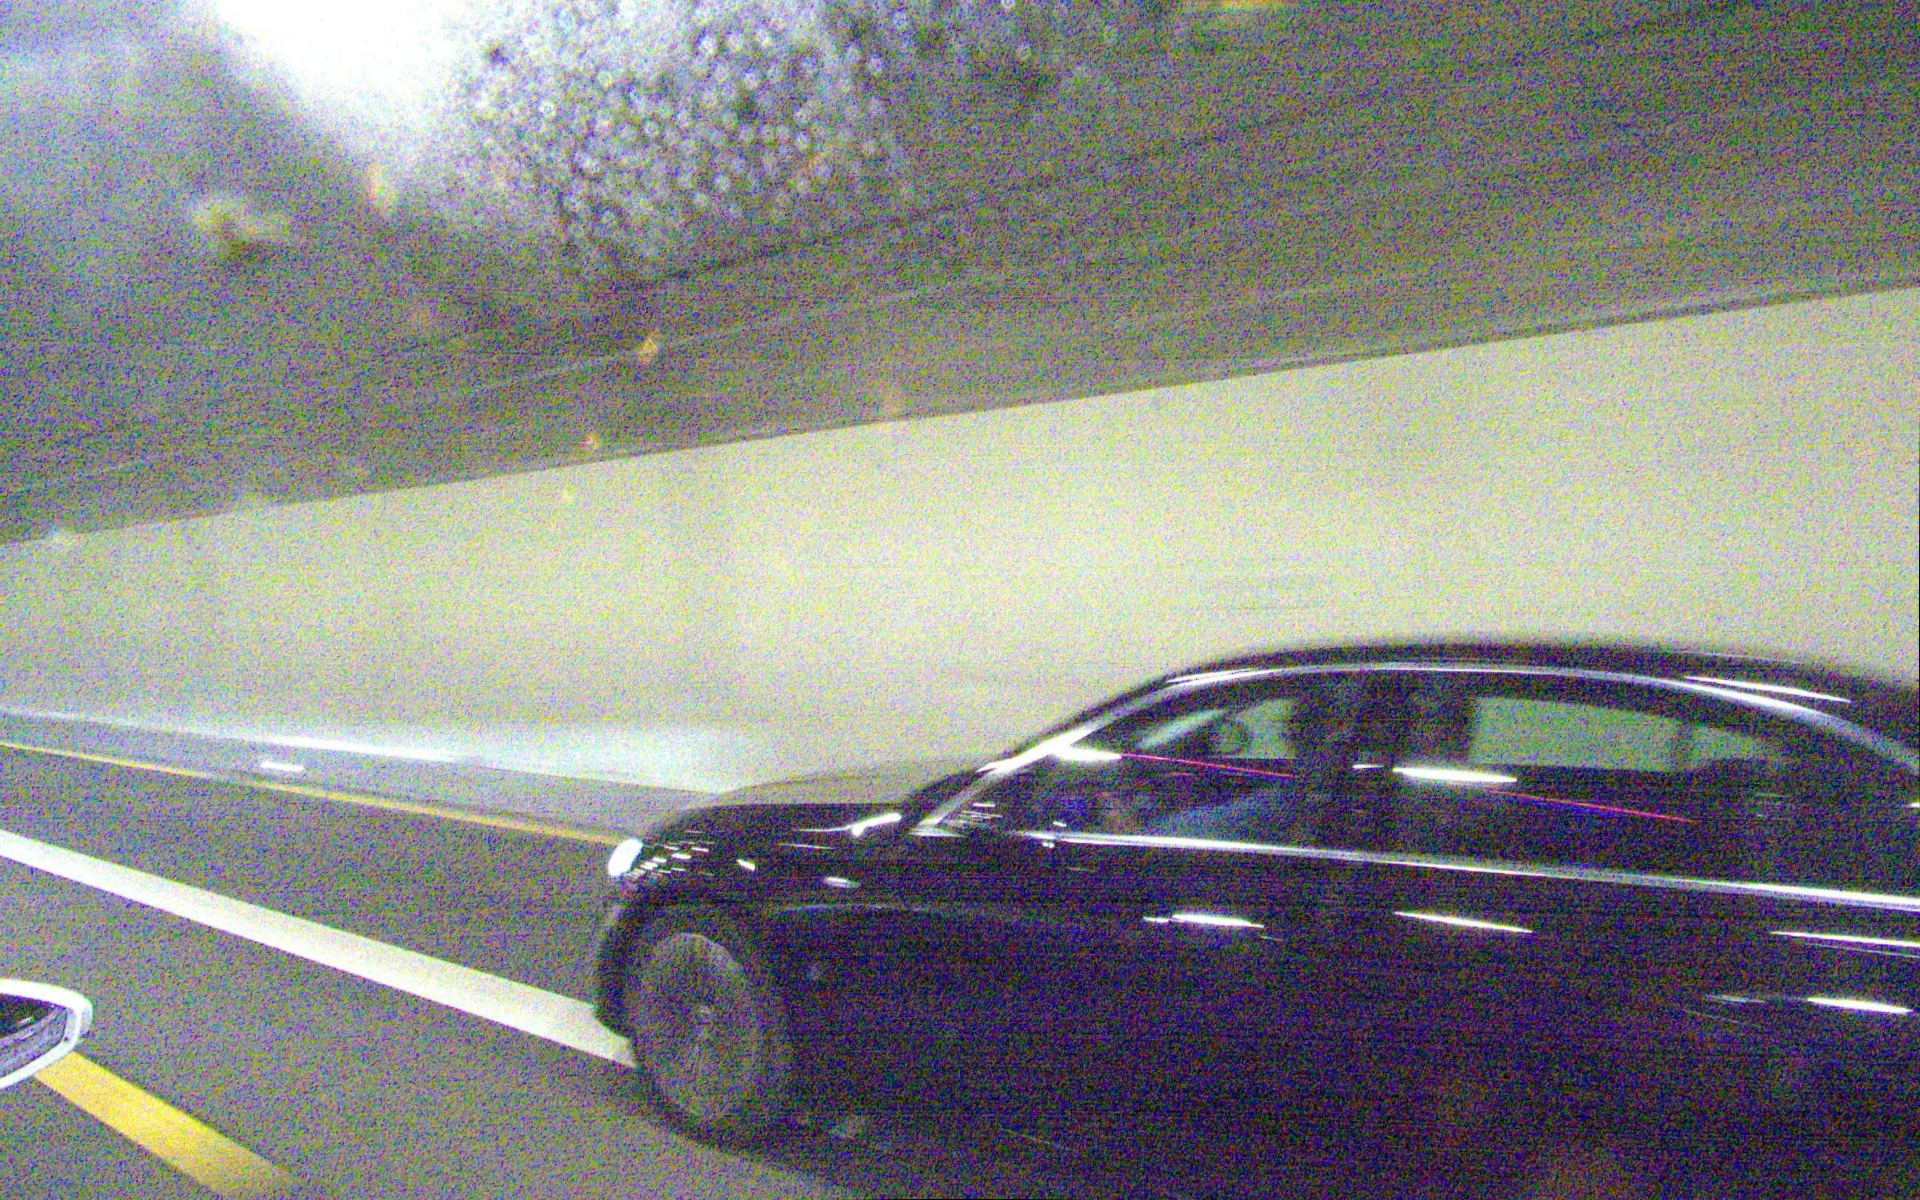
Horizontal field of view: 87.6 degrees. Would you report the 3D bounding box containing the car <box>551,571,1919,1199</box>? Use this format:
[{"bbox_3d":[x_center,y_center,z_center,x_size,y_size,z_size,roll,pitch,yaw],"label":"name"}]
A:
[{"bbox_3d":[1.295,0.750,2.612,4.884,1.491,1.922,-1,-2,33],"label":"car"}]
